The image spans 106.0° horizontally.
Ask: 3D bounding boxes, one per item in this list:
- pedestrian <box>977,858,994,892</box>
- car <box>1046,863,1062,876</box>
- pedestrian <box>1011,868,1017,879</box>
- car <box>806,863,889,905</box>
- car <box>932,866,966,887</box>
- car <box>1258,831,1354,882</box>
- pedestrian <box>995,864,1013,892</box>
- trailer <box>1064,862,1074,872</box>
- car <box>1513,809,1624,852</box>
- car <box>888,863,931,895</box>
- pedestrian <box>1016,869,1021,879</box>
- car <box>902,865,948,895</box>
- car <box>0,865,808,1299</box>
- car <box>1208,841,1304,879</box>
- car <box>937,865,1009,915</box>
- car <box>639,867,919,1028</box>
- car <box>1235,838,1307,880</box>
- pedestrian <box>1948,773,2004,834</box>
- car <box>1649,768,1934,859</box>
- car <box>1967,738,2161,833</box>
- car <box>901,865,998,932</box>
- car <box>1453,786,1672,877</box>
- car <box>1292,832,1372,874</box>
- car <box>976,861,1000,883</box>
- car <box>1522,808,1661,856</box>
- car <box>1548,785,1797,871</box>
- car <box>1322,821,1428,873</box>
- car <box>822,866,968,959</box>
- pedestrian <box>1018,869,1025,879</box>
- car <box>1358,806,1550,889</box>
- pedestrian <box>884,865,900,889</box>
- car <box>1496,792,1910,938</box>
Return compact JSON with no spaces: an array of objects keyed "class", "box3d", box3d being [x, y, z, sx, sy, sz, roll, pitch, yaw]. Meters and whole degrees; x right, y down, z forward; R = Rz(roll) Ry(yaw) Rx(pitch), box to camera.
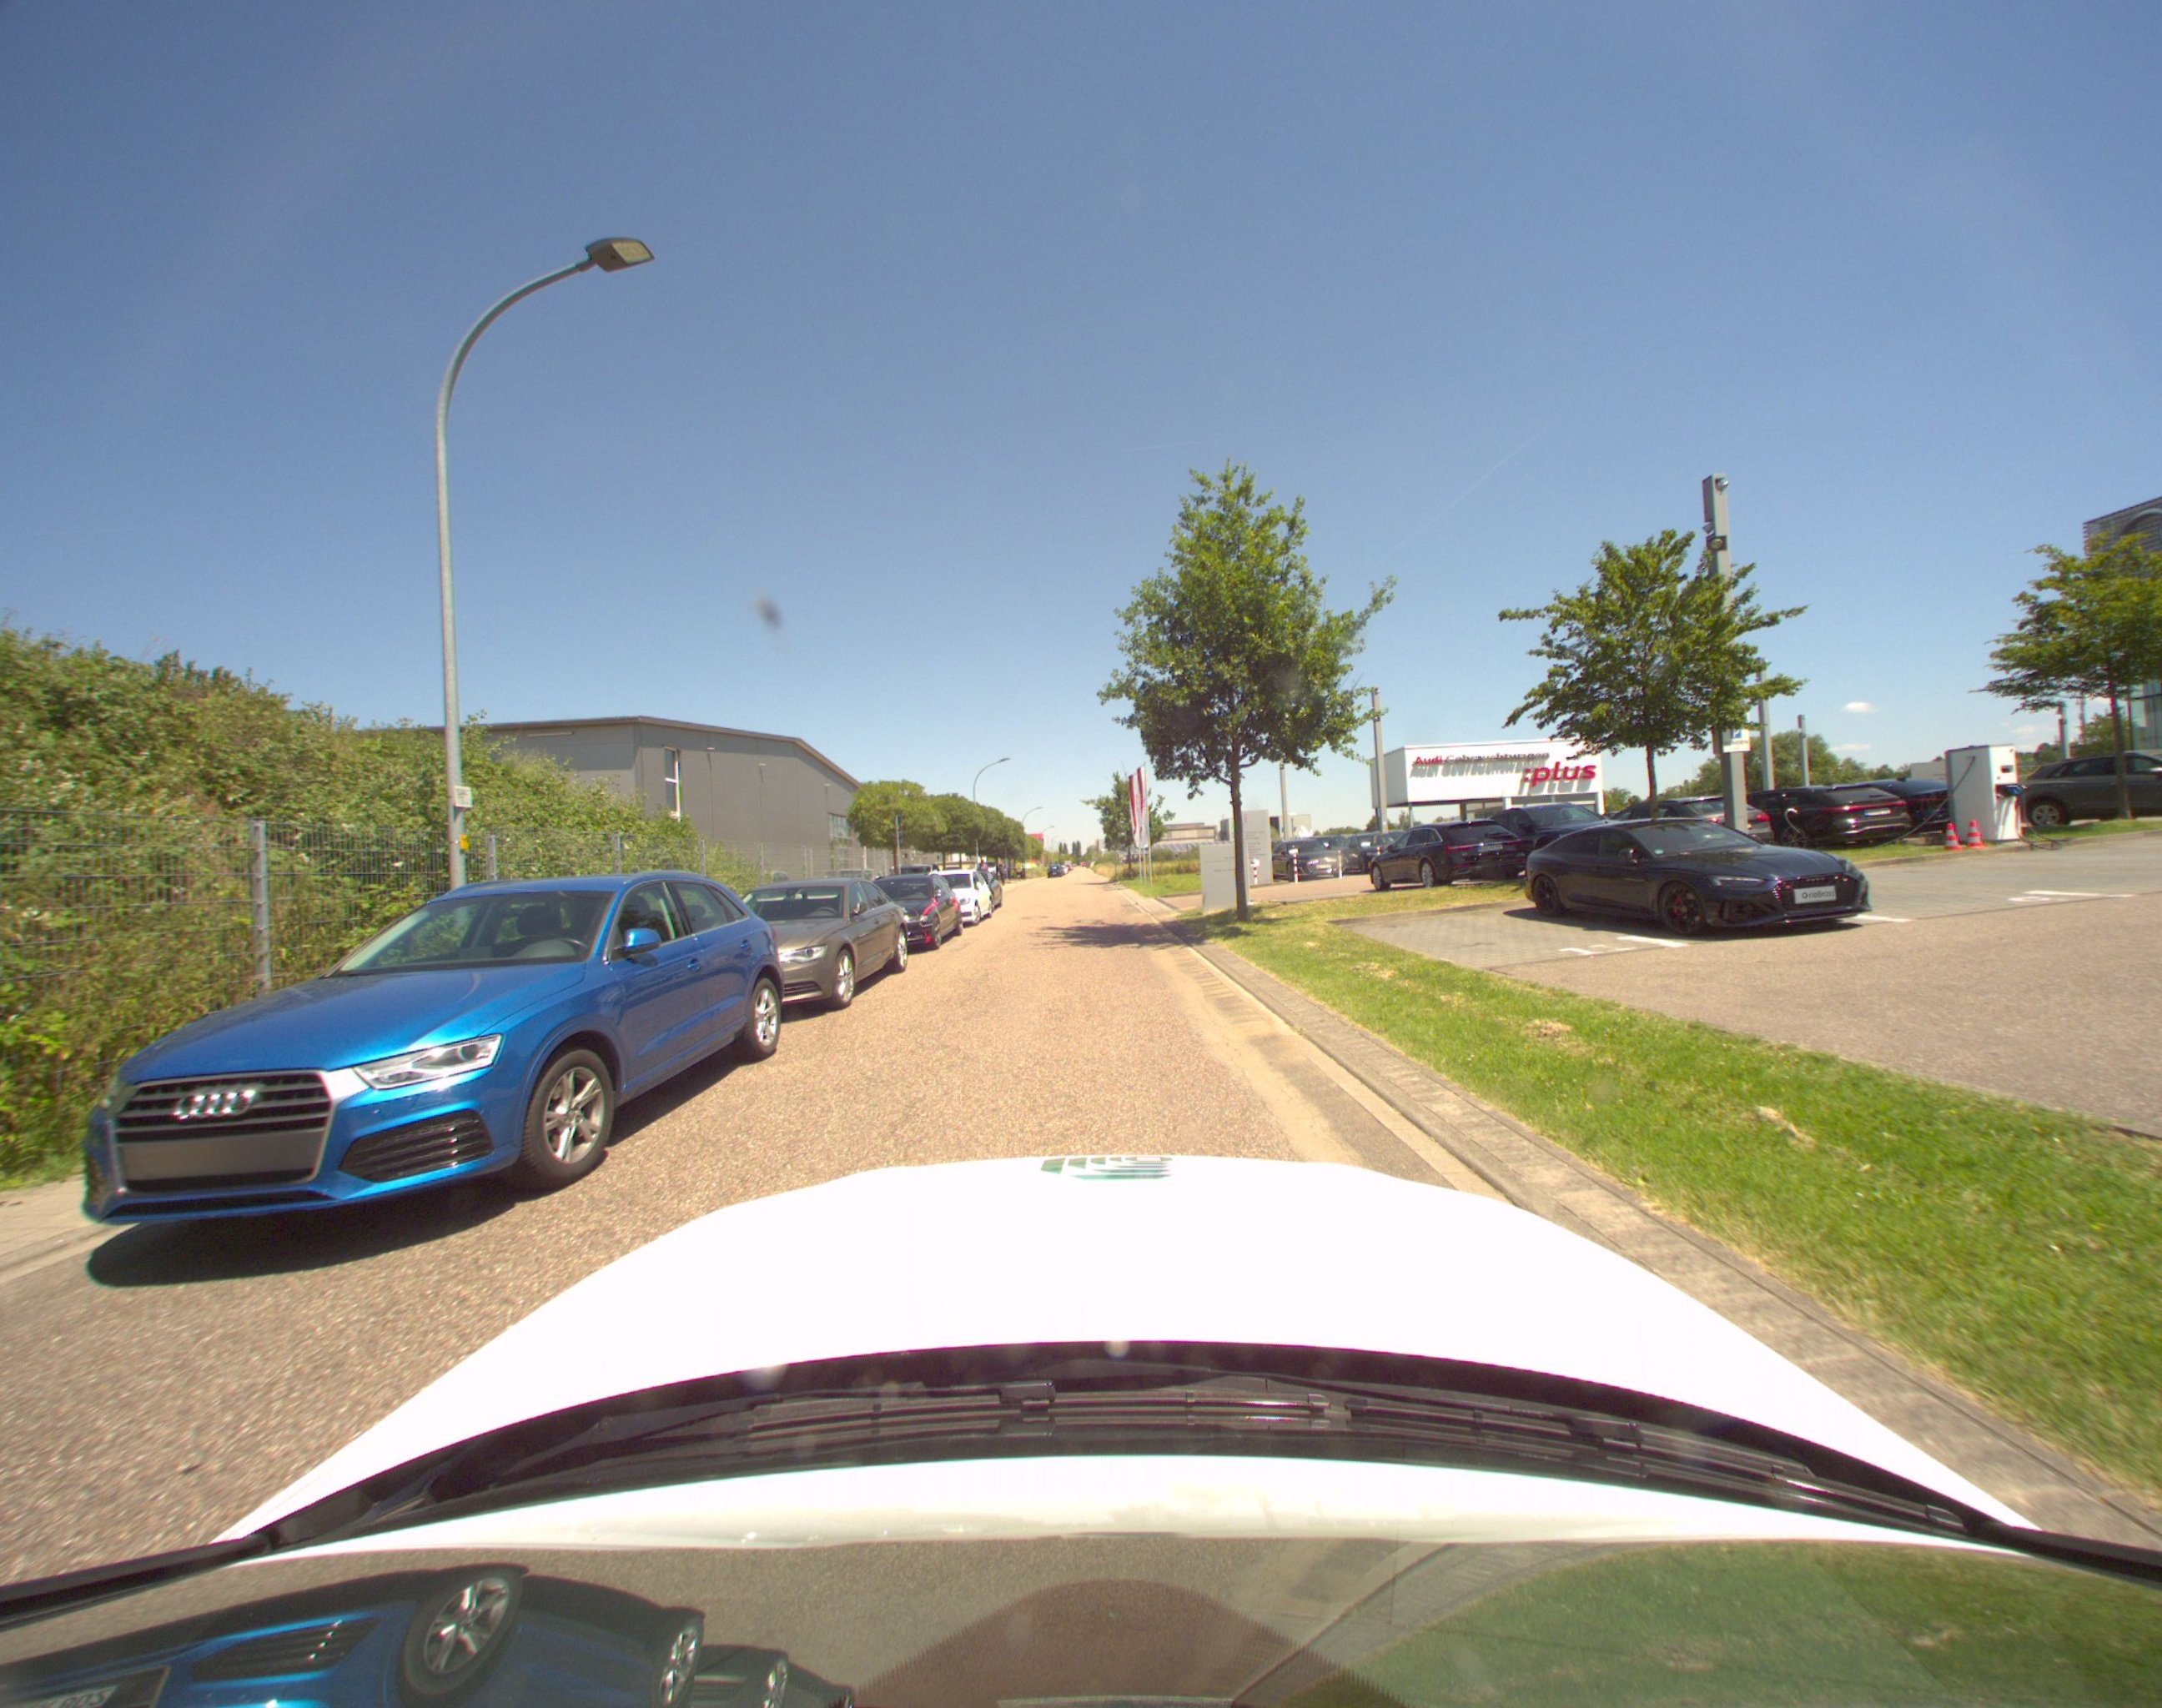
[{"class":"pedestrian","box3d":[-5.126,1.124,43.762,0.742,1.802,1.135,-1,-1,2]},{"class":"car","box3d":[-3.420,1.994,103.819,1.921,1.567,4.187,-3,-1,-1]},{"class":"pedestrian","box3d":[-7.068,2.028,85.664,0.476,1.150,0.556,0,-4,10]},{"class":"car","box3d":[-8.914,1.100,31.509,1.817,1.500,4.329,-1,-1,2]},{"class":"car","box3d":[-9.452,1.601,58.644,1.759,1.453,3.840,-1,-1,1]},{"class":"car","box3d":[8.204,0.124,30.248,2.018,1.514,5.238,-6,-1,0]},{"class":"pedestrian","box3d":[-5.553,1.730,58.668,0.832,1.972,0.971,-2,-1,40]},{"class":"trailer","box3d":[-2.866,3.141,197.902,2.194,2.137,4.284,-3,-1,0]},{"class":"car","box3d":[21.920,-0.988,36.877,2.019,1.590,4.777,-5,-1,0]},{"class":"car","box3d":[-8.918,1.275,42.592,1.680,1.500,3.698,-4,-1,-5]},{"class":"pedestrian","box3d":[-7.438,2.354,97.090,0.504,1.192,0.753,0,-1,2]},{"class":"car","box3d":[-9.038,1.484,47.593,1.759,1.573,4.539,-1,-1,0]},{"class":"car","box3d":[-3.457,0.916,5.379,1.819,1.570,4.384,-3,-1,-1]},{"class":"car","box3d":[9.254,0.341,43.302,4.517,1.693,2.029,-4,-1,-3]},{"class":"car","box3d":[-3.653,1.187,28.383,1.818,1.500,4.524,-3,-1,0]},{"class":"car","box3d":[-3.515,0.985,10.520,1.818,1.500,4.519,-3,-1,0]},{"class":"car","box3d":[8.329,0.237,36.148,2.018,1.573,4.778,-5,-1,0]},{"class":"pedestrian","box3d":[27.522,-1.543,25.059,0.767,1.776,0.746,-4,-1,4]},{"class":"car","box3d":[15.583,-0.777,18.359,1.955,1.457,4.984,-5,-2,0]},{"class":"car","box3d":[22.250,-1.496,16.991,1.955,1.621,4.984,-5,-2,0]},{"class":"car","box3d":[-3.426,1.108,21.957,1.818,1.500,4.258,-3,-1,0]},{"class":"car","box3d":[10.704,-0.378,18.670,1.955,1.598,4.984,-5,-2,0]},{"class":"car","box3d":[11.000,-0.022,36.081,2.018,1.590,4.778,-5,-1,0]},{"class":"car","box3d":[-9.055,1.714,79.597,1.832,2.019,5.121,-1,-1,-2]},{"class":"car","box3d":[19.142,-0.769,30.866,2.018,1.456,5.077,-4,-1,0]},{"class":"car","box3d":[13.122,-0.460,18.600,1.955,1.457,4.984,-5,-2,0]},{"class":"car","box3d":[10.859,-0.204,30.565,1.890,1.573,5.475,-6,-1,0]},{"class":"car","box3d":[-3.574,1.065,16.565,1.818,1.500,4.519,-3,-1,0]},{"class":"pedestrian","box3d":[-6.992,2.369,96.130,0.747,1.099,0.647,0,-1,4]},{"class":"car","box3d":[8.136,-0.024,18.423,1.955,1.457,4.984,-5,-2,0]},{"class":"pedestrian","box3d":[-13.328,1.619,57.474,0.837,1.713,0.964,-1,-1,-1]},{"class":"car","box3d":[7.931,0.101,11.160,1.955,1.366,4.720,-6,0,0]}]
